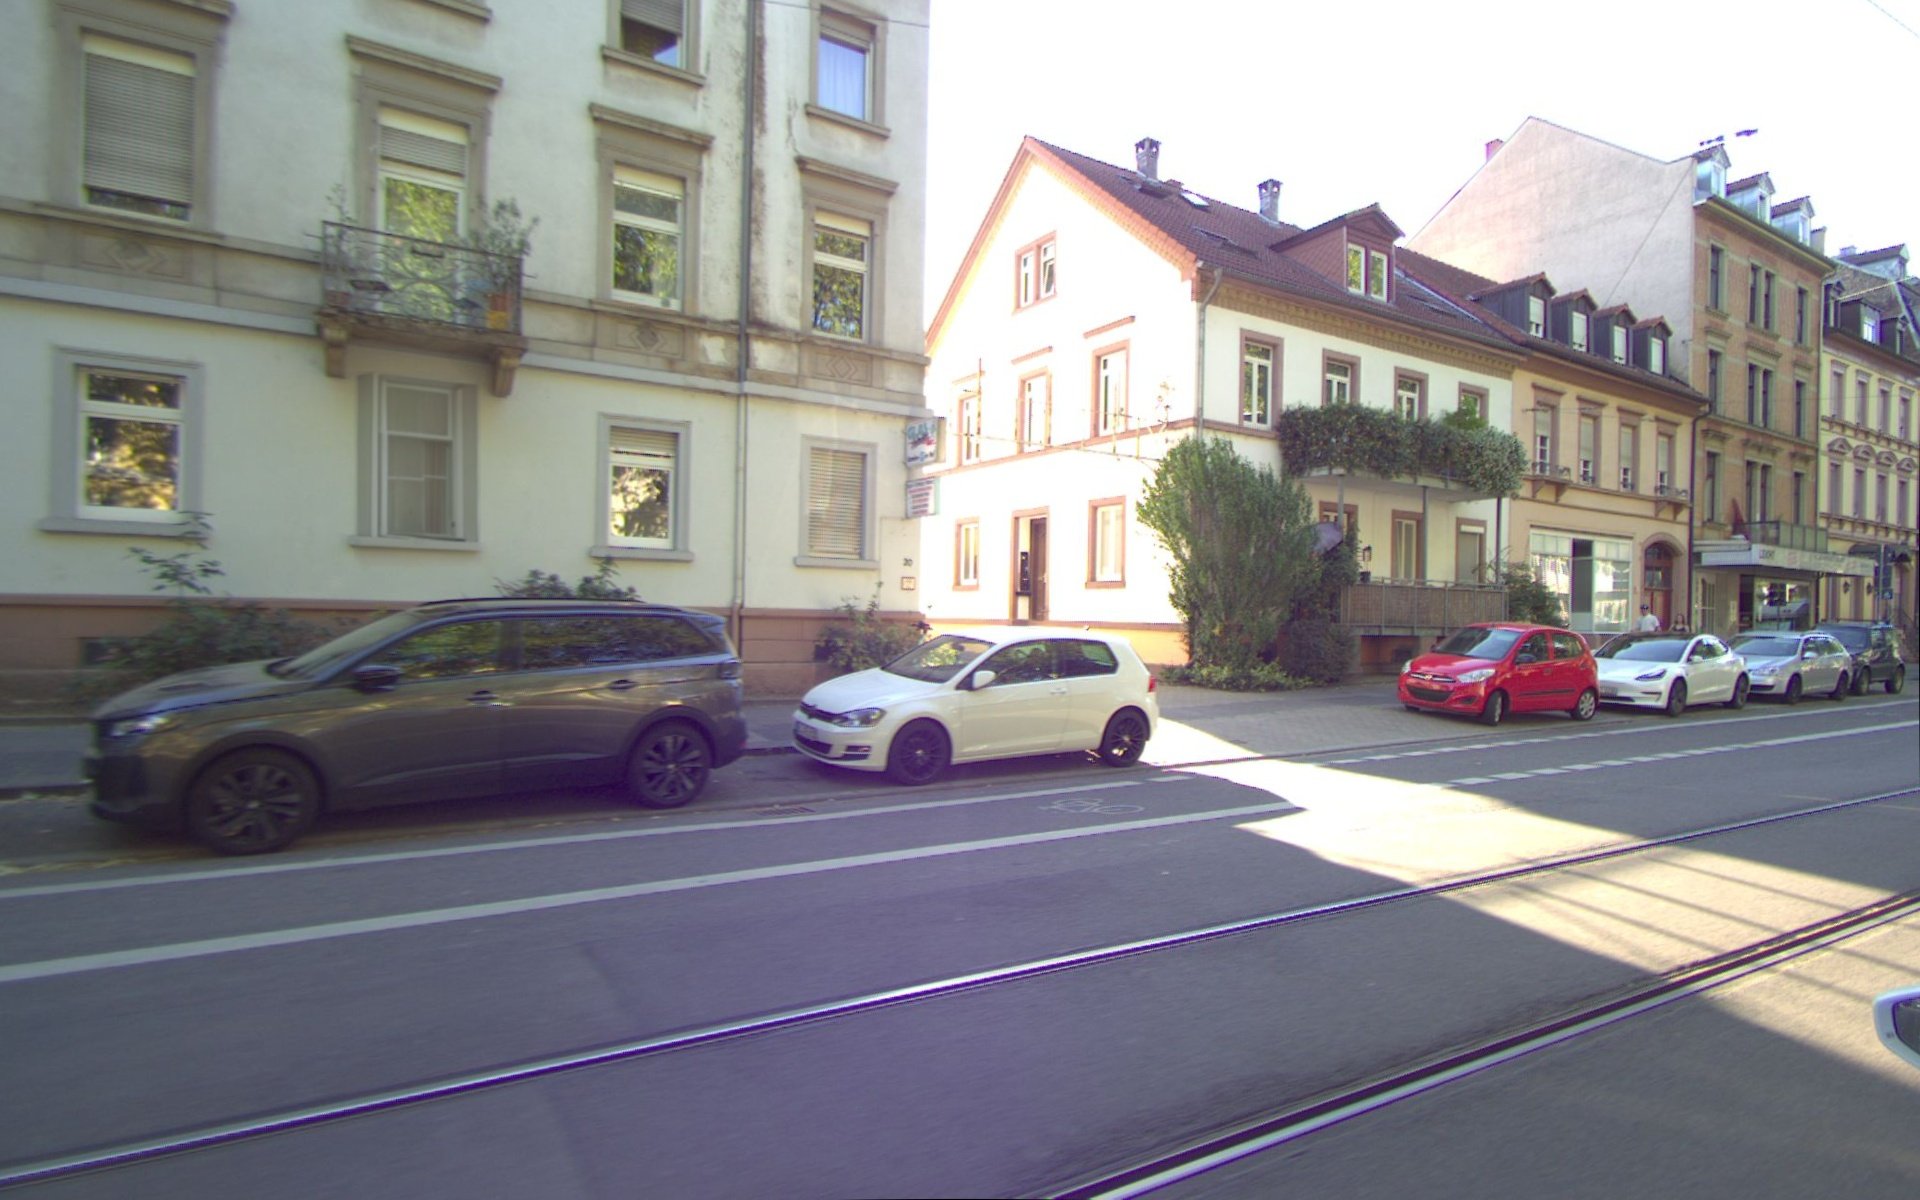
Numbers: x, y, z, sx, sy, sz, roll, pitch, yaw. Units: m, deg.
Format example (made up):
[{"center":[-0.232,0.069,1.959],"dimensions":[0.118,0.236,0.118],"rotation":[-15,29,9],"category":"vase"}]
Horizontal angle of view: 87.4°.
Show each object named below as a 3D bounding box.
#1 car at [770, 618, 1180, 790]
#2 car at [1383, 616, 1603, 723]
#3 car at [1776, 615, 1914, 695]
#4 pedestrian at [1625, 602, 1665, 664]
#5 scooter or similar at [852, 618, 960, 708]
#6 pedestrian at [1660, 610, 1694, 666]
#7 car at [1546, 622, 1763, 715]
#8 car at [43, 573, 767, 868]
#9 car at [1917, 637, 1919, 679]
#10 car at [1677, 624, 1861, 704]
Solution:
[{"center":[0.243,0.998,10.914],"dimensions":[4.210,1.496,1.678],"rotation":[1,1,-32],"category":"car"},{"center":[8.788,1.085,16.536],"dimensions":[3.405,1.583,1.563],"rotation":[1,-1,-28],"category":"car"},{"center":[21.660,1.300,24.561],"dimensions":[3.645,1.755,1.547],"rotation":[1,1,-33],"category":"car"},{"center":[18.945,0.905,27.781],"dimensions":[0.763,1.656,0.653],"rotation":[3,1,43],"category":"pedestrian"},{"center":[-0.801,0.929,15.055],"dimensions":[1.552,1.297,0.445],"rotation":[1,0,-23],"category":"scooter or similar"},{"center":[19.461,1.015,27.253],"dimensions":[0.628,1.480,0.653],"rotation":[3,1,43],"category":"pedestrian"},{"center":[13.341,1.232,19.205],"dimensions":[4.639,1.523,1.816],"rotation":[1,1,-34],"category":"car"},{"center":[-4.063,0.757,8.033],"dimensions":[4.615,1.726,1.843],"rotation":[1,-1,-37],"category":"car"},{"center":[31.471,1.564,30.811],"dimensions":[4.885,1.805,1.952],"rotation":[1,2,-33],"category":"car"},{"center":[17.815,1.353,22.082],"dimensions":[4.401,1.523,1.817],"rotation":[1,1,-33],"category":"car"}]
